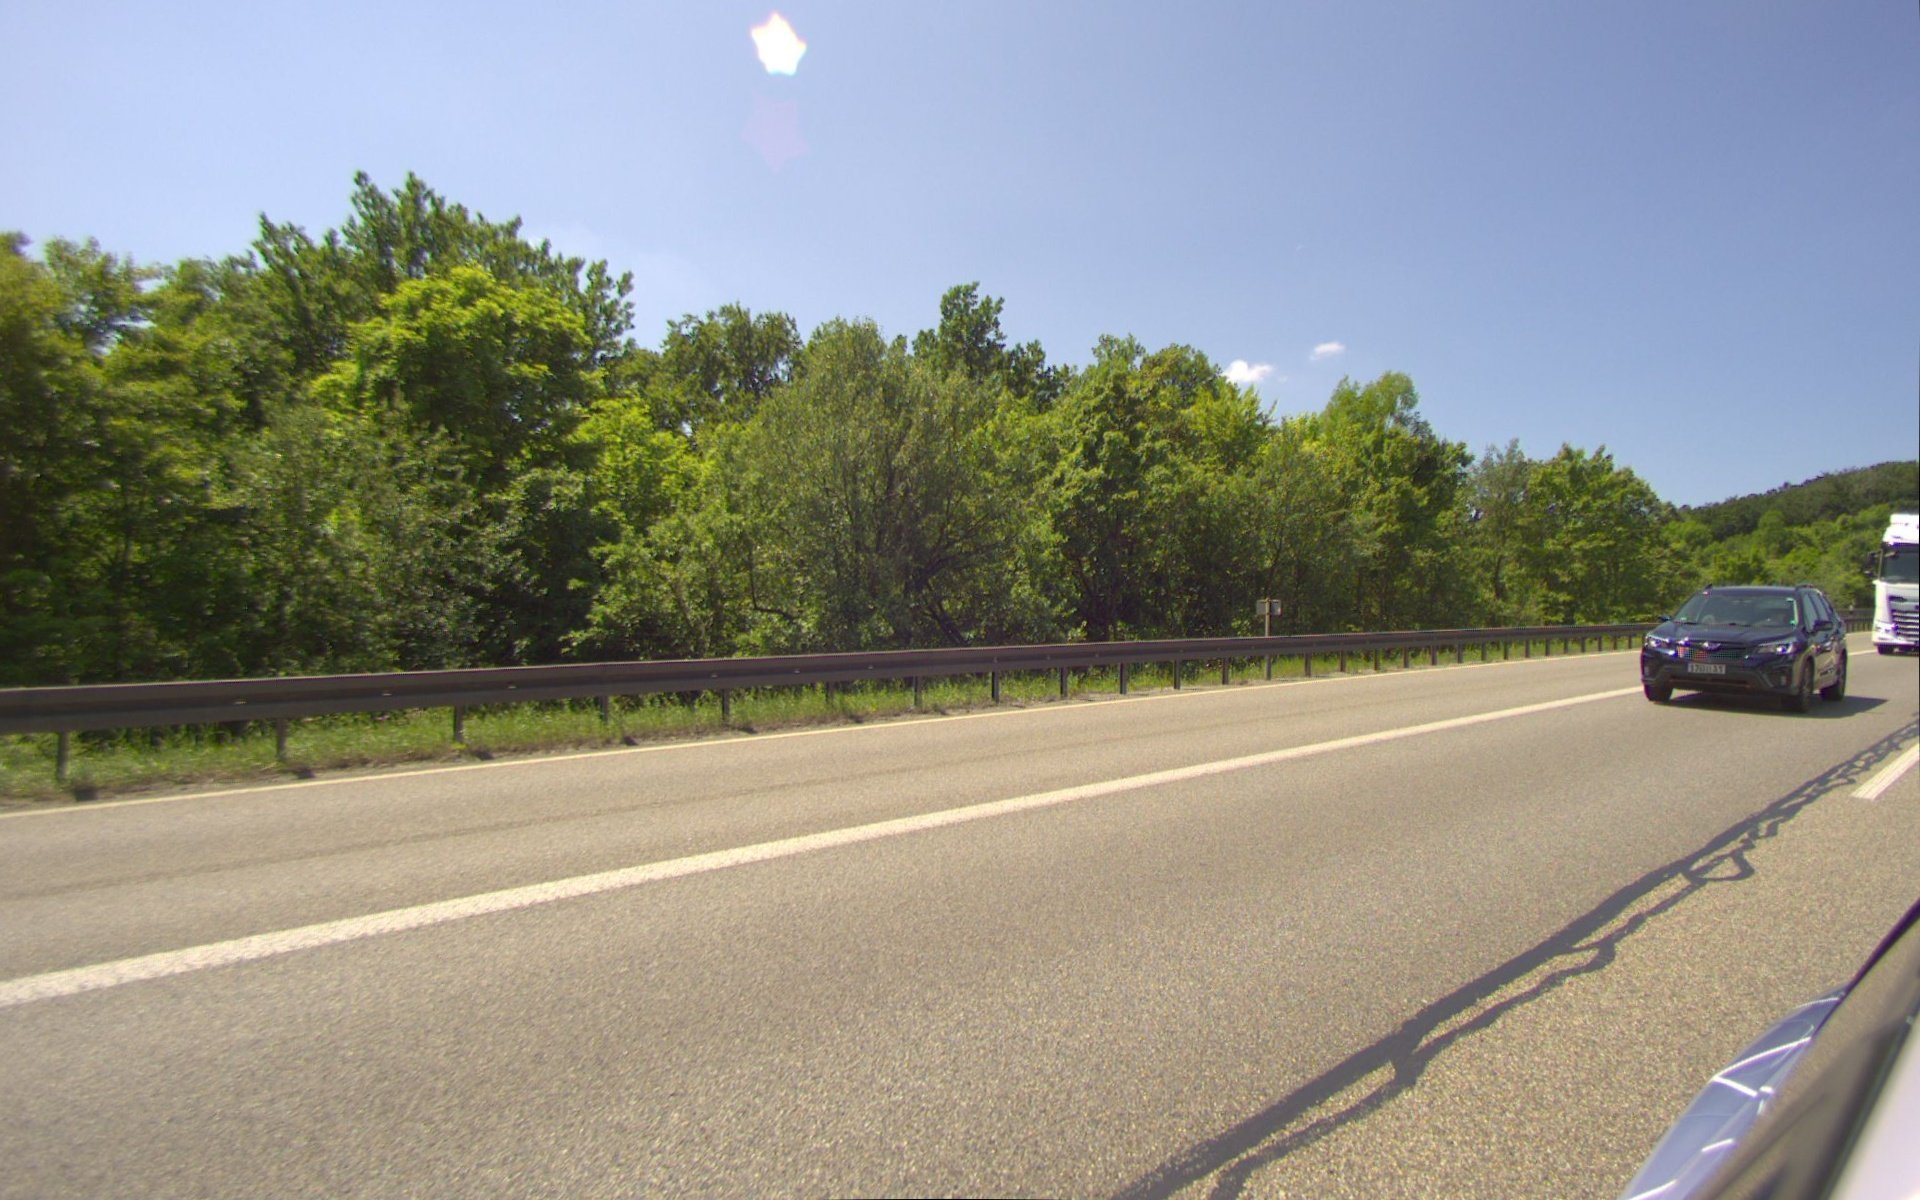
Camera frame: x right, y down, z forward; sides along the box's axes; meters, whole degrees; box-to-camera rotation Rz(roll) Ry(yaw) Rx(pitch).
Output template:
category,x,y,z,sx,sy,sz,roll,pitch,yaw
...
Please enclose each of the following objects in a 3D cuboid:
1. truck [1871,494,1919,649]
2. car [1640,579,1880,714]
category,x,y,z,sx,sy,sz,roll,pitch,yaw
truck,32.653,-0.758,32.320,15.973,4.221,2.789,0,0,-39
car,11.633,0.550,14.633,4.127,1.688,1.816,-1,1,-38
